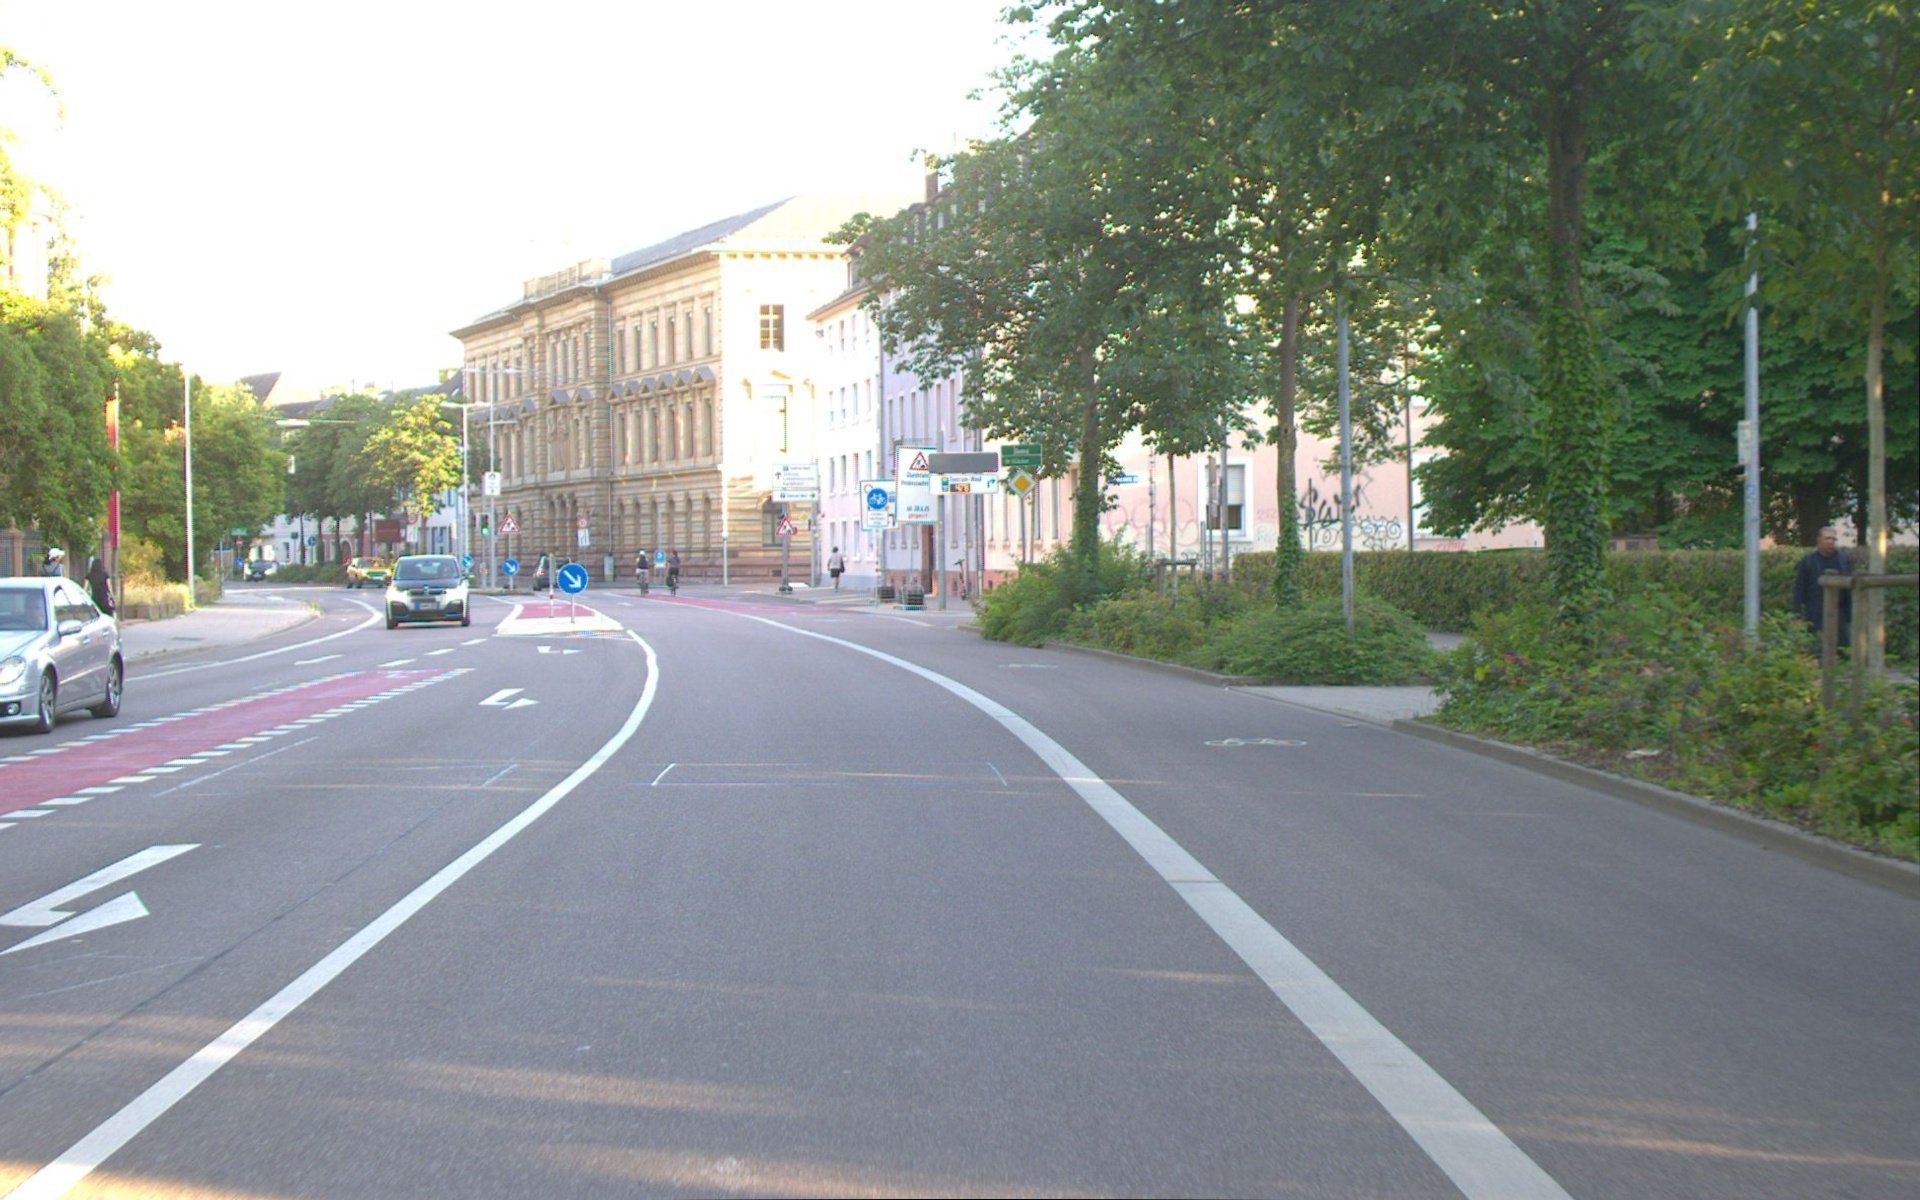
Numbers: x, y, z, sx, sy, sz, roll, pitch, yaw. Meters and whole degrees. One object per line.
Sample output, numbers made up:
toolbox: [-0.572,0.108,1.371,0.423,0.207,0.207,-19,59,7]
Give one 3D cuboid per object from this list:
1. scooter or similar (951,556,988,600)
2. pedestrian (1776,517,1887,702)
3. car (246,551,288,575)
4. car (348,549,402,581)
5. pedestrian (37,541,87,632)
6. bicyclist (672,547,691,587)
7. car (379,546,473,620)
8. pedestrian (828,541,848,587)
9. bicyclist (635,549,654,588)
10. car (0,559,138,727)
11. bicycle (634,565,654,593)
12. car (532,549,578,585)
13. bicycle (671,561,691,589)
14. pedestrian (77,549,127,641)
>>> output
scooter or similar: [0.278,-0.672,105.077,0.629,1.332,2.401,0,1,-12]
pedestrian: [8.298,0.079,32.750,0.769,1.733,0.807,-1,1,-8]
car: [-45.208,-2.427,224.407,1.993,1.579,4.000,0,1,-1]
car: [-29.208,-1.744,171.597,1.993,1.579,4.001,0,1,-19]
pedestrian: [-16.061,-0.250,61.521,0.681,1.617,0.688,0,1,1]
bicyclist: [-10.555,-1.246,130.222,0.652,1.470,0.941,2,1,-7]
car: [-11.809,-0.390,75.817,1.848,1.521,4.001,-2,1,-11]
pedestrian: [-4.702,-1.386,132.523,0.762,1.749,0.845,0,1,-1]
bicyclist: [-11.929,-1.194,129.965,0.652,1.441,0.879,2,1,-7]
car: [-9.080,0.378,31.880,1.916,1.413,4.771,-2,1,-3]
bicycle: [-11.950,-0.800,130.001,0.652,1.012,2.198,2,1,-7]
car: [-17.161,-1.401,145.500,1.867,1.505,4.001,0,0,-7]
bicycle: [-10.566,-0.936,130.221,0.652,1.012,2.198,2,1,-7]
pedestrian: [-15.317,-0.095,61.385,0.681,1.617,0.688,0,1,4]
